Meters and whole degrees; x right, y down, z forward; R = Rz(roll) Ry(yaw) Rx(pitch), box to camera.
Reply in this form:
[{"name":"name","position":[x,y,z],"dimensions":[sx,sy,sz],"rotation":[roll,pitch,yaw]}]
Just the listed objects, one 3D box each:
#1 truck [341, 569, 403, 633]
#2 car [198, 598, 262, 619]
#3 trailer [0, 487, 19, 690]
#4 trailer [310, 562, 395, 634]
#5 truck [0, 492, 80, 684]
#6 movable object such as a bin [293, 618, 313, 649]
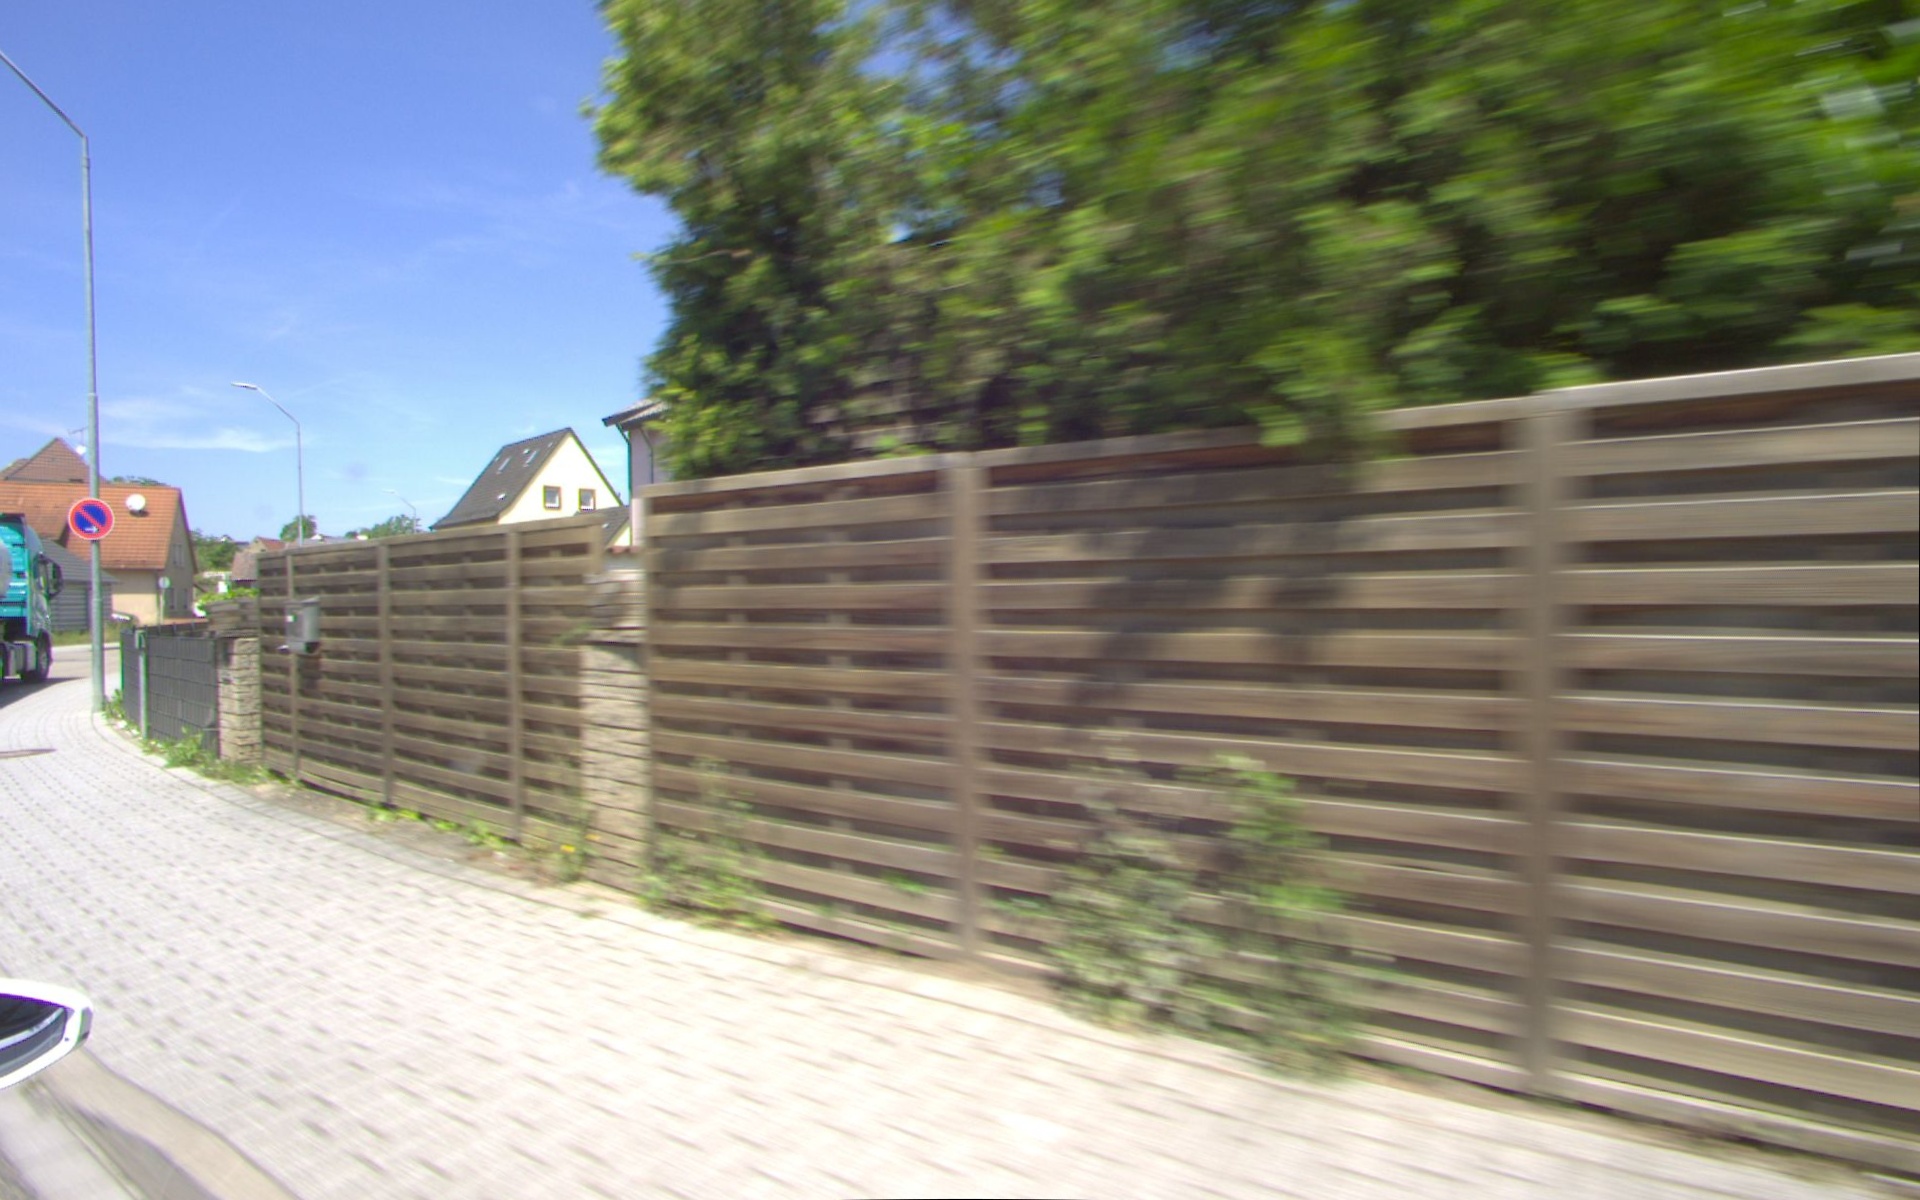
[{"name":"truck","position":[-42.858,0.122,73.168],"dimensions":[3.063,4.458,5.918],"rotation":[0,-1,-22]},{"name":"car","position":[-66.191,0.785,90.834],"dimensions":[4.433,1.809,1.879],"rotation":[1,1,0]},{"name":"trailer","position":[-18.160,-0.276,16.384],"dimensions":[2.927,4.000,11.528],"rotation":[0,0,-38]},{"name":"trailer","position":[-40.232,0.038,66.769],"dimensions":[3.091,4.332,12.455],"rotation":[0,-1,-23]},{"name":"truck","position":[-22.504,-0.179,22.577],"dimensions":[2.955,4.017,5.549],"rotation":[-1,-1,-31]},{"name":"movable object such as a bin","position":[-23.550,1.202,35.890],"dimensions":[0.559,1.071,0.646],"rotation":[-1,1,-37]}]
